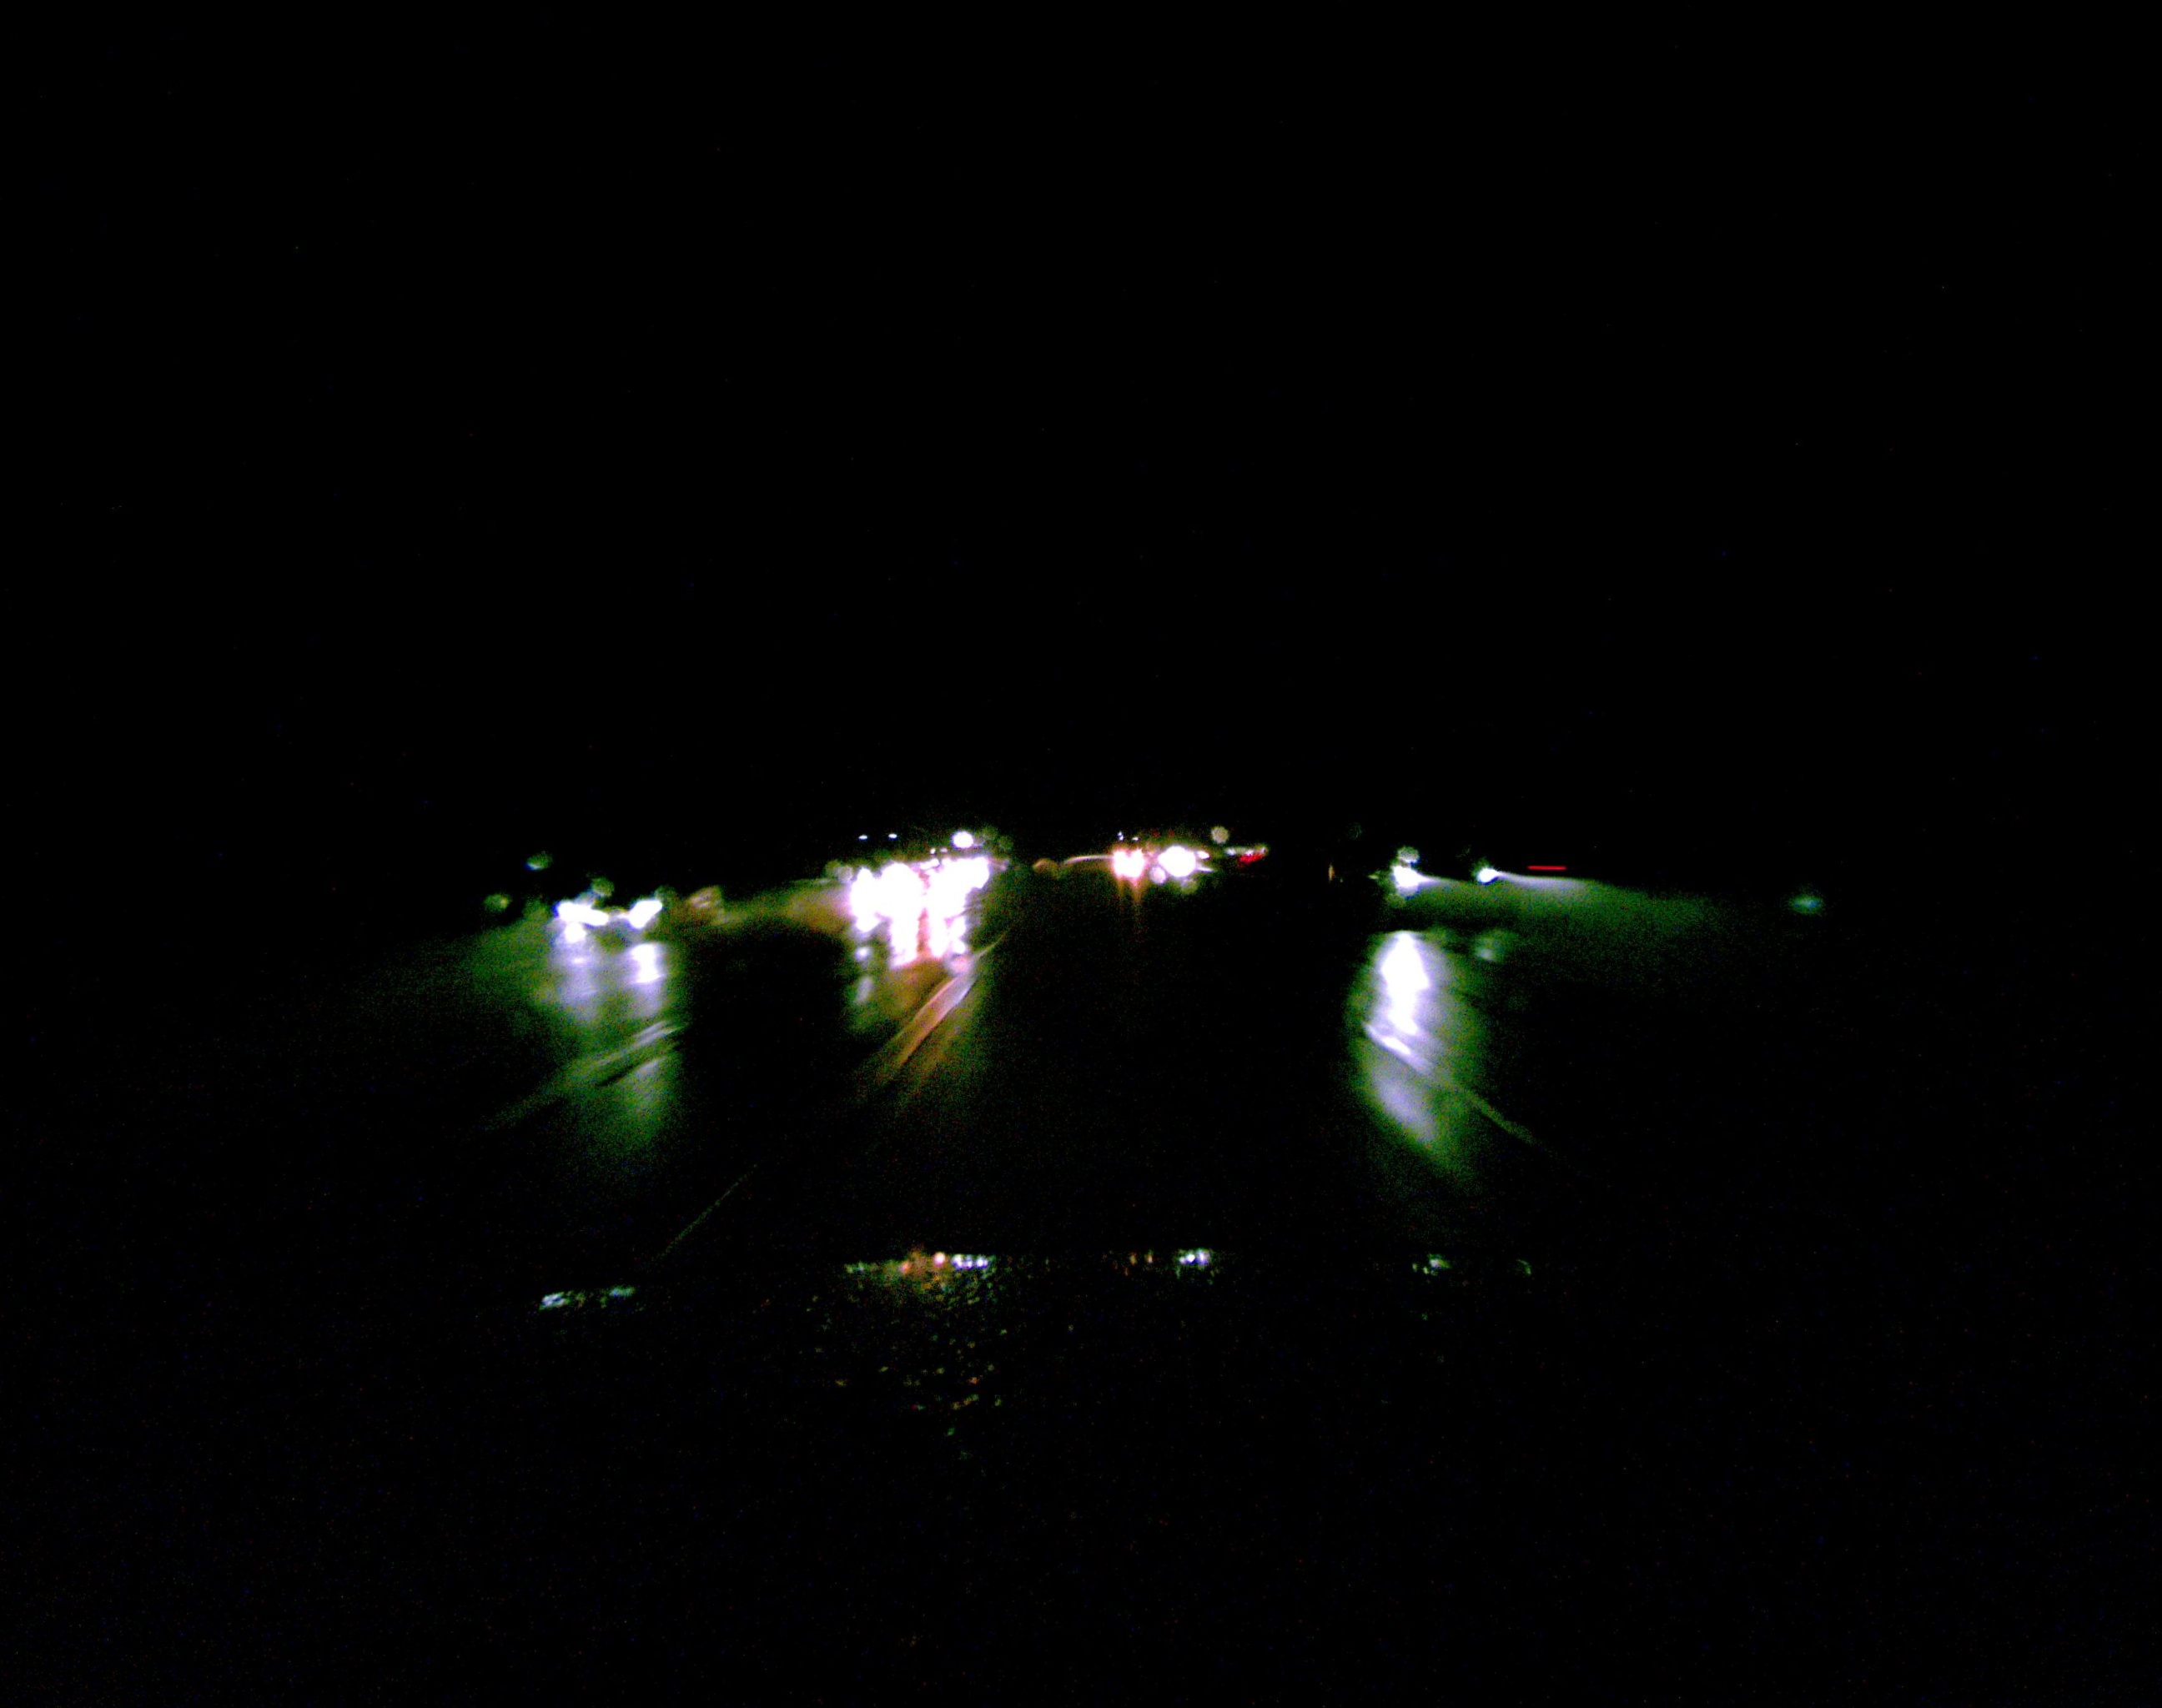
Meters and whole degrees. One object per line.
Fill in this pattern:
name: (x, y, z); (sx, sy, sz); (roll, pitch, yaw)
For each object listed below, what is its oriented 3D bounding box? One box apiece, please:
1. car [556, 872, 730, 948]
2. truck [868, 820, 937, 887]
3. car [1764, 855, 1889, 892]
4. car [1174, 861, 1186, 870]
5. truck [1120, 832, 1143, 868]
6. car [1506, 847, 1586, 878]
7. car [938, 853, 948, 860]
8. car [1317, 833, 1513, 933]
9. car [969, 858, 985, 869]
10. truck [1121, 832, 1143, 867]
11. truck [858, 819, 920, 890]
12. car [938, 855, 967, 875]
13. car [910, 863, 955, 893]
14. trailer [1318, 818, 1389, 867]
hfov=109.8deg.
car: (-10.439, 1.257, 18.548); (1.793, 1.477, 4.327); (-2, 0, -2)
truck: (-12.675, -0.283, 55.194); (2.767, 4.199, 13.815); (2, 2, -5)
car: (31.044, 0.765, 31.797); (1.618, 1.292, 3.701); (2, 2, 2)
car: (14.777, 1.665, 113.062); (1.710, 1.286, 3.994); (1, -1, 7)
truck: (6.320, -0.602, 94.325); (2.502, 4.224, 5.982); (2, 2, 5)
car: (22.291, 0.376, 36.562); (1.618, 1.292, 3.701); (2, 2, 2)
car: (-26.121, 0.411, 143.778); (1.713, 1.286, 3.988); (1, -1, -8)
car: (7.443, 0.494, 17.756); (2.142, 1.874, 5.553); (2, 2, 1)
car: (-12.411, 1.104, 90.519); (1.712, 1.286, 3.989); (1, -1, -5)
truck: (6.826, -0.778, 100.772); (2.502, 4.224, 13.643); (2, 2, 5)
truck: (-12.147, -0.054, 48.577); (2.767, 4.199, 6.189); (2, 2, -5)
car: (-8.927, 0.751, 52.983); (1.712, 1.286, 3.990); (1, -1, -5)
car: (-7.069, 1.118, 36.503); (1.712, 1.286, 3.990); (1, -1, -5)
trailer: (27.318, -1.284, 77.106); (2.554, 4.518, 13.914); (2, 2, 2)
